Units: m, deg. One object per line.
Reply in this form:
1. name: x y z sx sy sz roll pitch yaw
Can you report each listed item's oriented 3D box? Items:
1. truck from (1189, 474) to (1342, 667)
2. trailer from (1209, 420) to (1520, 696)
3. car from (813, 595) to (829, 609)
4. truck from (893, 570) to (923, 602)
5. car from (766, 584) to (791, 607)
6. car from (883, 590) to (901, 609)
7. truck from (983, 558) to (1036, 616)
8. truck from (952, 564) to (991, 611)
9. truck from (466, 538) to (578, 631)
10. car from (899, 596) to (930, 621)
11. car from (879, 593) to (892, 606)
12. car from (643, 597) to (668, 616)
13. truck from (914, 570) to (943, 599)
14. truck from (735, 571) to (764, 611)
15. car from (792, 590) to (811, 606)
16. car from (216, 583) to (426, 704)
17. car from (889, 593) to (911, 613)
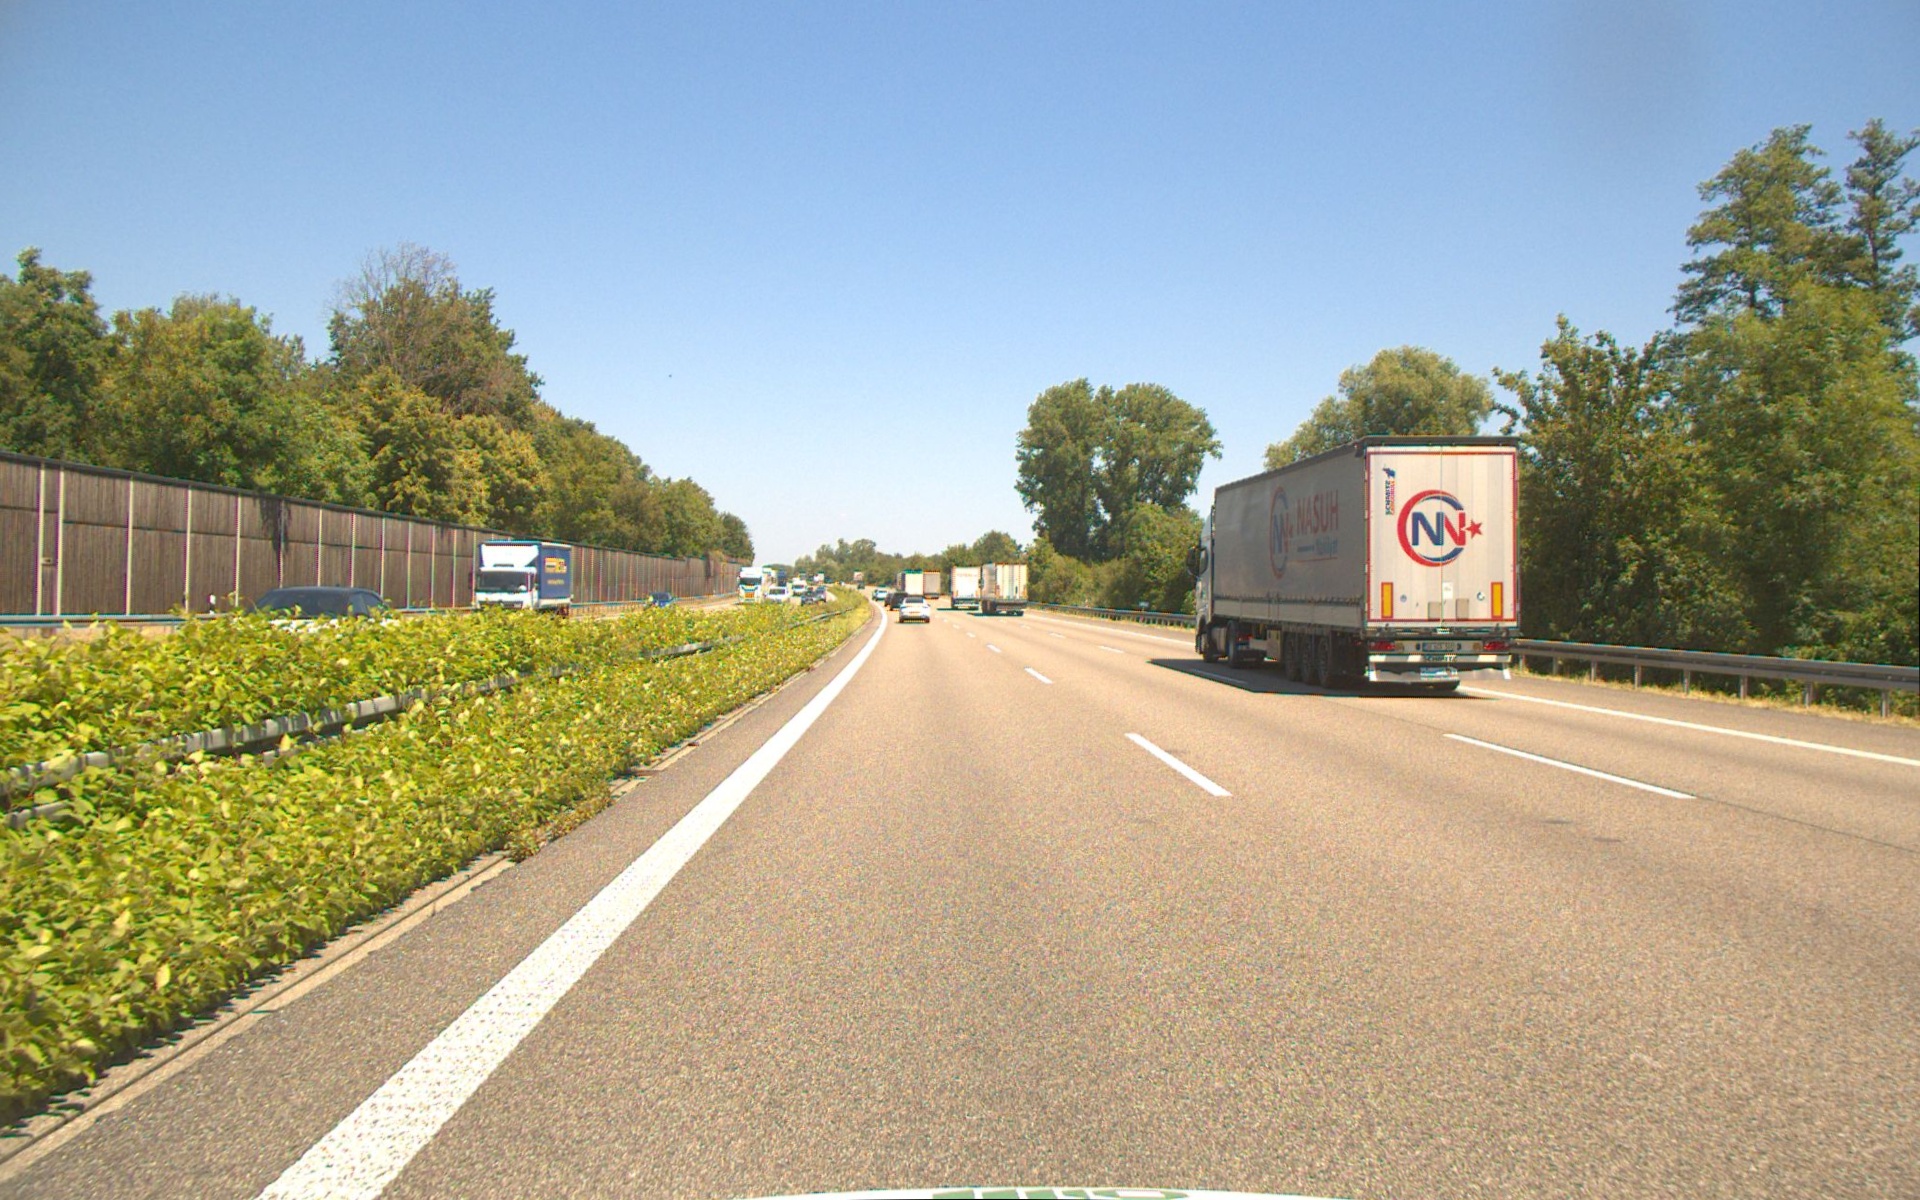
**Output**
1. truck: 7.310 -0.666 40.269 2.553 4.362 5.434 1 0 -2
2. trailer: 7.451 -0.653 33.172 2.571 4.335 14.057 1 0 -1
3. car: -17.287 0.249 205.734 1.731 1.680 4.037 0 0 -3
4. truck: -7.579 -1.986 239.205 3.510 4.386 12.176 1 0 -5
5. car: -16.076 -0.394 146.575 1.887 1.979 4.607 1 0 -2
6. car: -7.565 -0.079 182.787 1.954 2.049 3.998 0 0 -3
7. truck: 3.807 -0.977 131.160 3.422 4.386 10.983 1 0 -2
8. truck: 1.075 -1.196 161.652 3.292 4.386 10.823 1 0 -2
9. truck: -18.450 -0.612 70.187 2.776 3.672 8.740 1 0 -3
10. car: -2.662 0.503 97.501 1.680 1.393 3.375 1 0 0
11. car: -10.379 -0.027 230.487 1.689 1.814 3.998 0 0 -3
12. car: -20.633 0.446 112.096 1.254 1.277 3.026 1 0 -3
13. truck: -5.096 -2.383 263.328 3.756 4.386 11.539 1 0 -6
14. truck: -23.072 -0.933 181.338 2.675 4.266 6.033 1 0 -3
15. car: -16.448 -0.229 171.695 1.679 1.570 4.359 0 0 -3
16. car: -9.324 0.591 24.456 1.551 1.616 4.000 1 0 0
17. car: -5.527 0.236 152.334 1.954 1.803 3.997 0 0 -4
